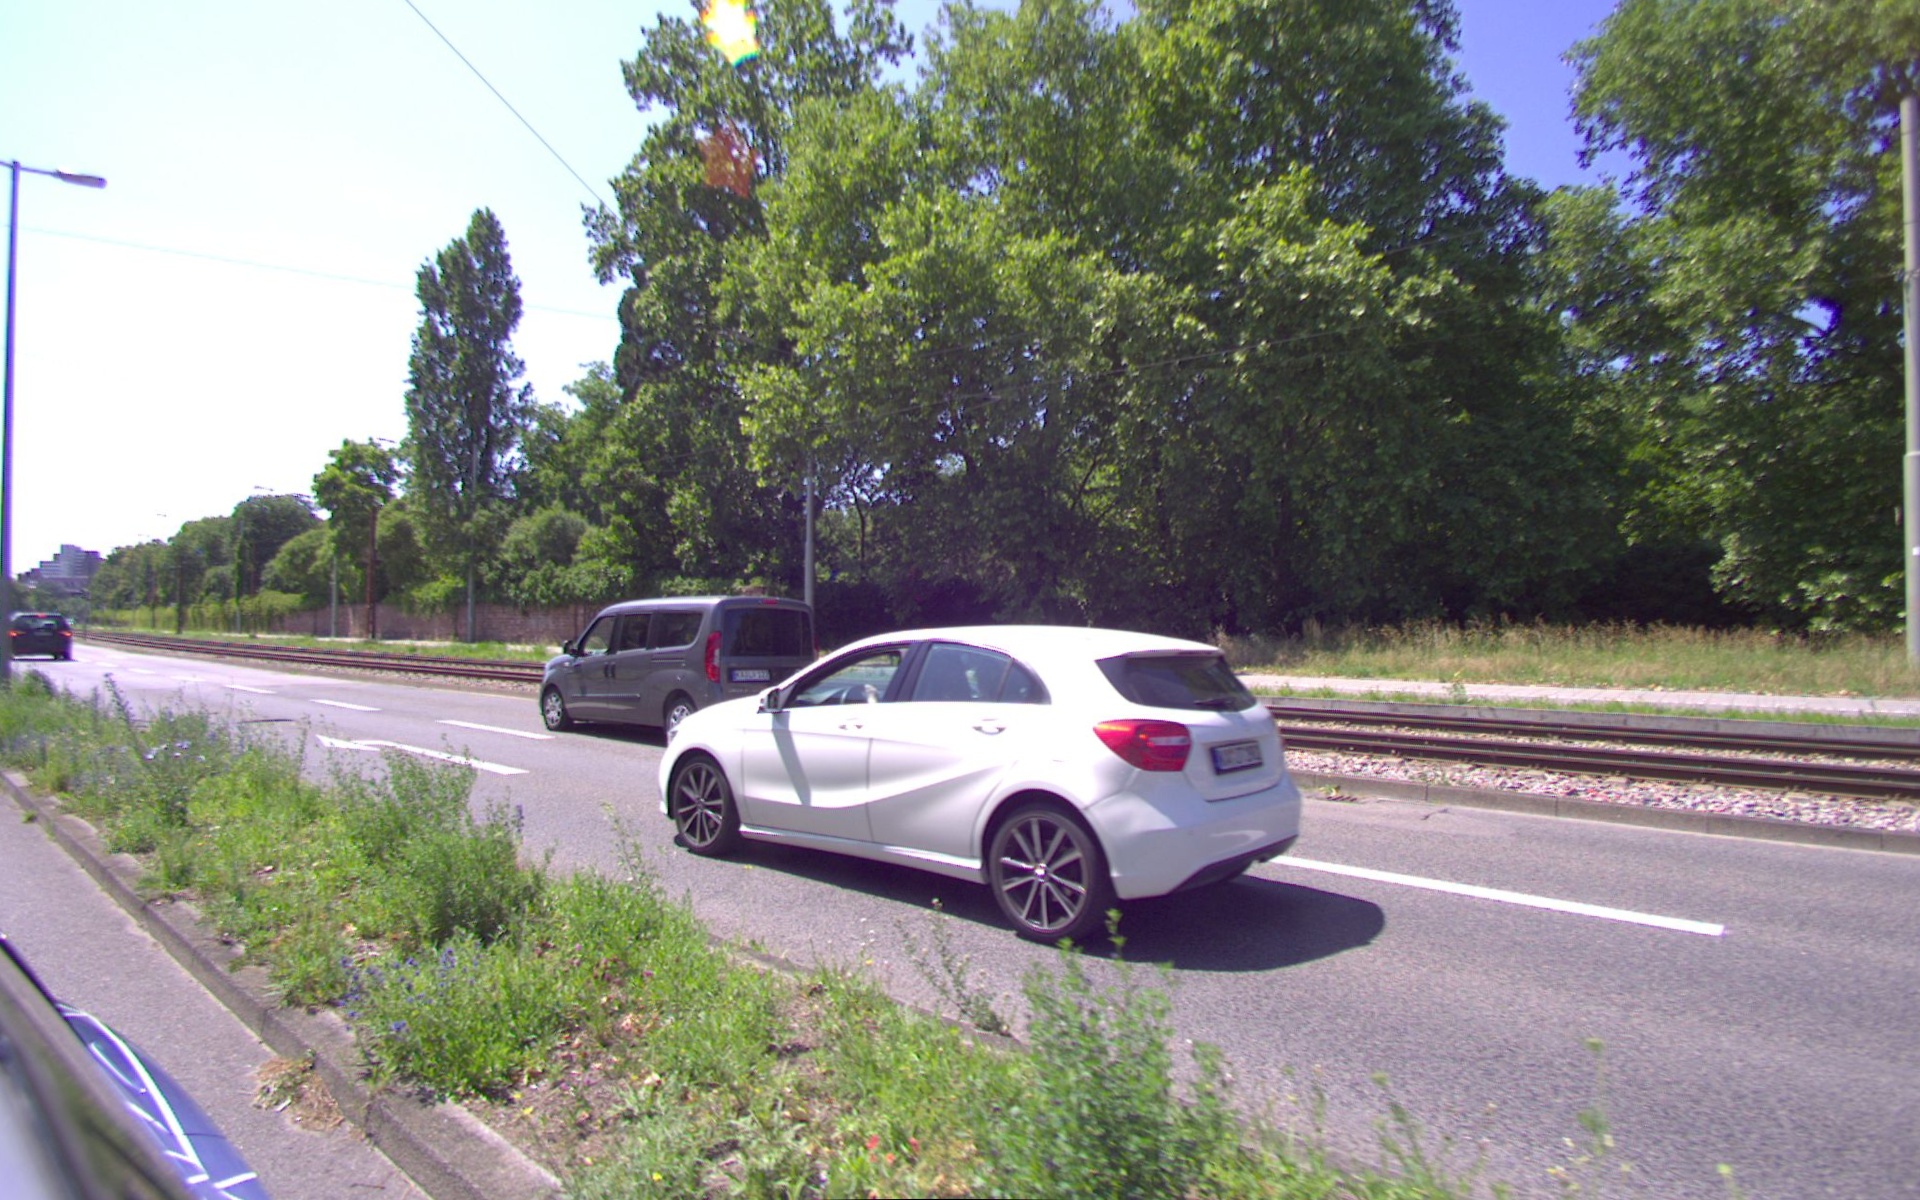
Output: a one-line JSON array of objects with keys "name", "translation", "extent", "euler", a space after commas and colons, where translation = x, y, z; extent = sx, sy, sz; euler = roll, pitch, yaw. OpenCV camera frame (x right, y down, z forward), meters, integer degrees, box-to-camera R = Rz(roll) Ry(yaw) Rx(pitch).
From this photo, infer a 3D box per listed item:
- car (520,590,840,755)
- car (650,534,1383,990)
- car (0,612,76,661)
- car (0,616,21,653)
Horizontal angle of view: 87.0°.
[{"name": "car", "translation": [-3.824, 0.863, 13.377], "extent": [4.612, 1.815, 1.811], "euler": [-1, -3, 41]}, {"name": "car", "translation": [0.108, 0.682, 5.934], "extent": [4.036, 1.752, 1.811], "euler": [-1, -3, 41]}, {"name": "car", "translation": [-34.449, 1.336, 37.523], "extent": [4.790, 1.726, 1.810], "euler": [-1, -3, 41]}, {"name": "car", "translation": [-47.729, 1.708, 49.982], "extent": [1.808, 1.769, 4.491], "euler": [3, -3, -44]}]
